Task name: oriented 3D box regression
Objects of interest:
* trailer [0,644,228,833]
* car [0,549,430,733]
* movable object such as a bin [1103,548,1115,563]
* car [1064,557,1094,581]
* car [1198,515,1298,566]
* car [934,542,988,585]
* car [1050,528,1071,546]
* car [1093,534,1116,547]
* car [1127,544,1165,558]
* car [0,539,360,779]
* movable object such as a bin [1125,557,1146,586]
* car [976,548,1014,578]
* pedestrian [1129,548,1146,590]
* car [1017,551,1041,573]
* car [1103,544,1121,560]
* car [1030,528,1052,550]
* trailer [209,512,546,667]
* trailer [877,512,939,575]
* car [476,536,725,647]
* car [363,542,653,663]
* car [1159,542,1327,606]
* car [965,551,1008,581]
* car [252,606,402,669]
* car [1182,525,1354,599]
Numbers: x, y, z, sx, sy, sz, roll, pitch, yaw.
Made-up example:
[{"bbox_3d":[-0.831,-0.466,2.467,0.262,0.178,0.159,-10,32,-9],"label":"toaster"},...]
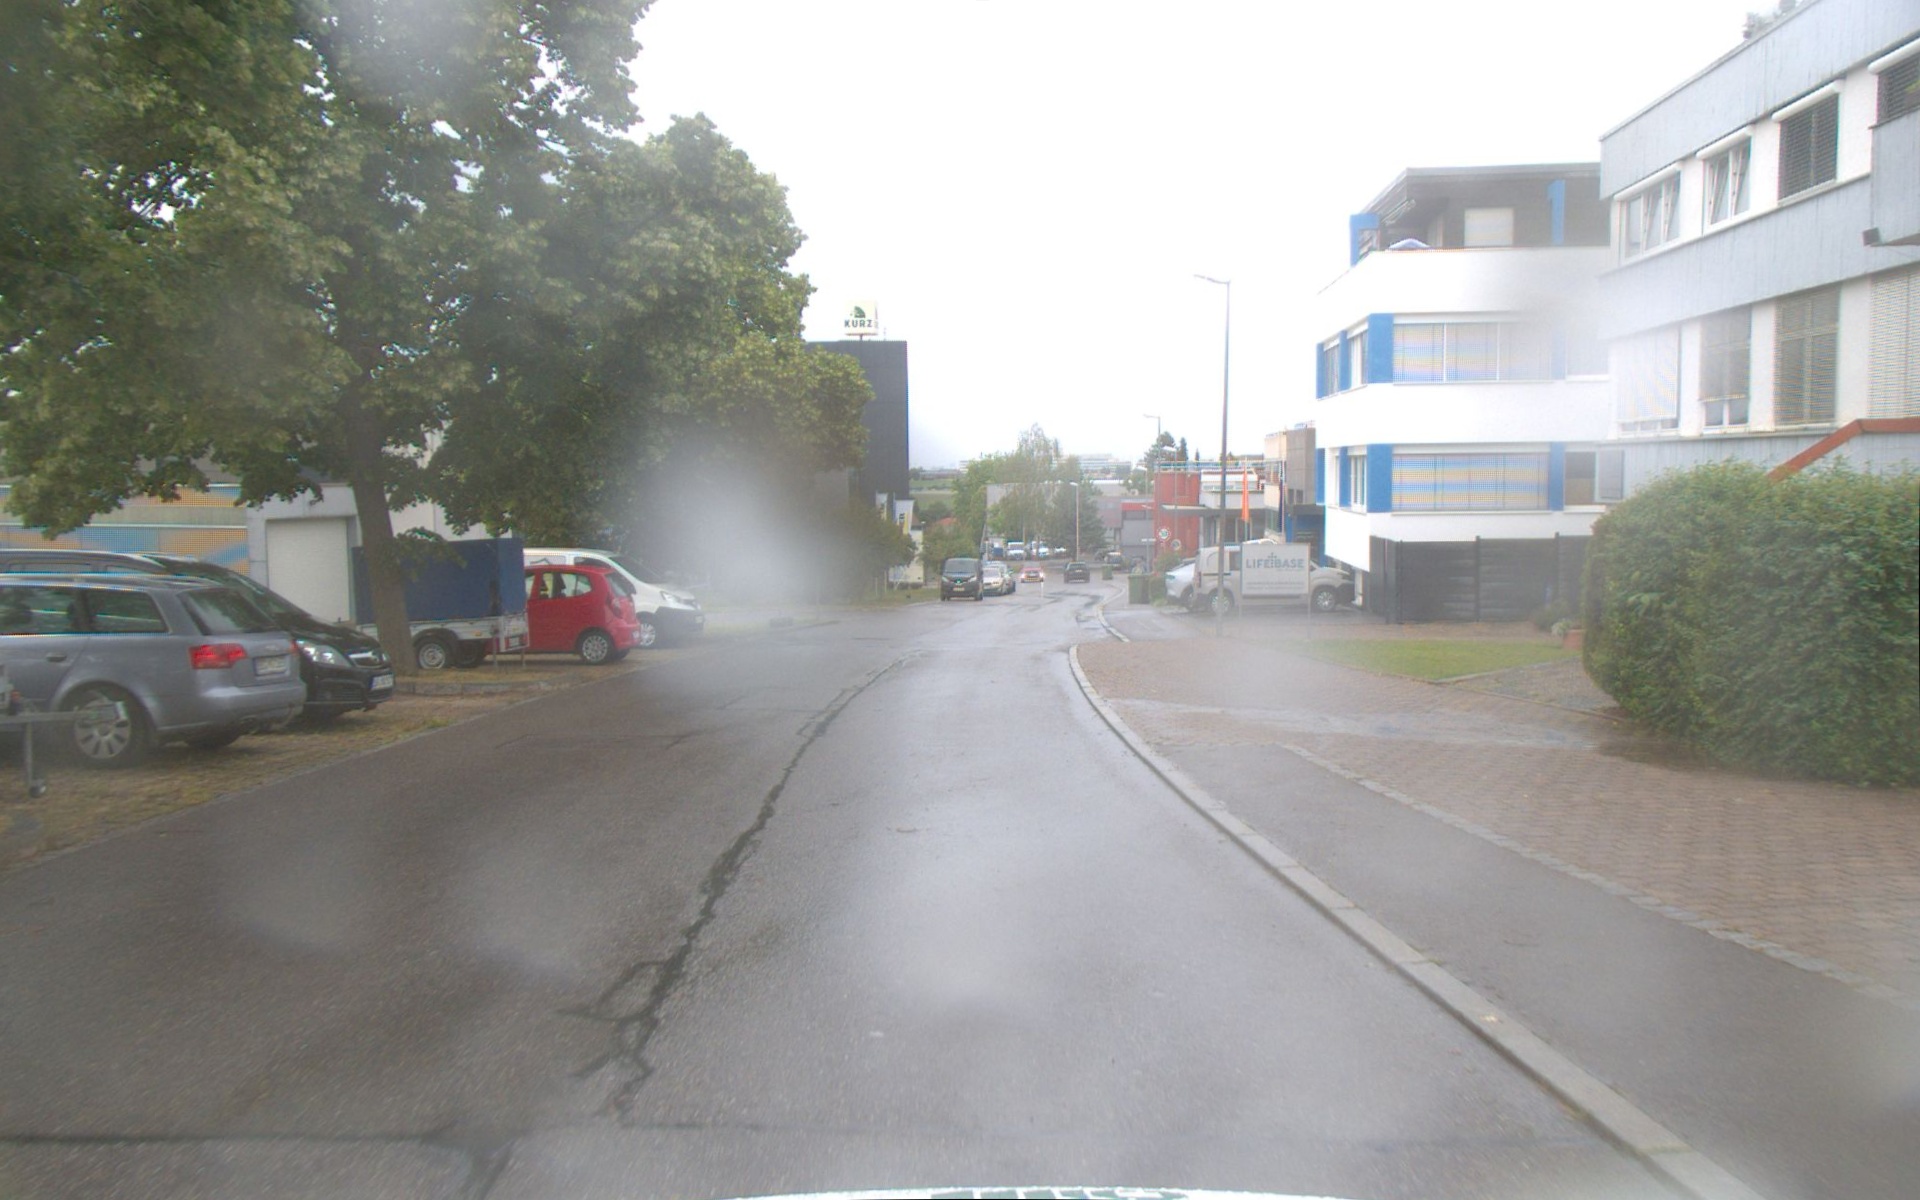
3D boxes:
[{"bbox_3d":[-7.128,0.849,10.696,3.860,0.977,2.001,0,2,0],"label":"trailer"},{"bbox_3d":[-7.635,0.340,15.831,4.521,1.617,1.807,1,1,2],"label":"car"},{"bbox_3d":[11.228,-3.350,124.789,0.790,1.111,0.709,-2,2,0],"label":"movable object such as a bin"},{"bbox_3d":[8.607,-2.231,120.140,1.915,1.704,4.473,-1,1,1],"label":"car"},{"bbox_3d":[16.273,-3.350,93.817,5.191,2.046,2.223,-9,0,5],"label":"car"},{"bbox_3d":[0.084,-1.645,73.777,1.875,1.863,4.852,-1,2,6],"label":"car"},{"bbox_3d":[12.220,-7.698,201.291,2.102,2.048,3.938,-2,1,-2],"label":"car"},{"bbox_3d":[16.351,-6.769,187.106,2.496,1.375,1.242,-1,2,-1],"label":"car"},{"bbox_3d":[16.532,-4.371,147.042,3.328,1.183,1.793,-1,2,6],"label":"car"},{"bbox_3d":[-7.229,0.399,13.362,3.988,1.751,2.027,1,1,3],"label":"car"},{"bbox_3d":[6.533,-1.060,61.406,0.755,1.047,0.809,-1,2,6],"label":"movable object such as a bin"},{"bbox_3d":[2.036,-2.123,94.721,1.916,1.604,4.843,-2,1,3],"label":"car"},{"bbox_3d":[7.767,-1.366,72.290,0.721,1.798,0.809,-1,1,6],"label":"pedestrian"},{"bbox_3d":[5.386,-2.951,129.128,1.711,1.534,3.936,-4,1,2],"label":"car"},{"bbox_3d":[15.159,-4.784,164.966,1.661,1.501,4.003,-1,1,4],"label":"car"},{"bbox_3d":[9.784,-7.380,200.482,2.149,2.502,3.998,-2,1,-3],"label":"car"},{"bbox_3d":[-8.263,-0.161,23.697,4.125,2.018,1.775,-1,1,2],"label":"trailer"},{"bbox_3d":[-3.699,-3.963,117.080,4.114,4.275,1.993,-1,2,43],"label":"trailer"},{"bbox_3d":[-6.810,-0.169,31.544,4.208,1.939,1.864,-1,1,8],"label":"car"},{"bbox_3d":[-7.151,0.019,26.483,4.110,1.751,1.755,-2,1,-1],"label":"car"},{"bbox_3d":[8.045,-0.763,47.392,4.500,1.565,2.081,-3,2,4],"label":"car"},{"bbox_3d":[1.450,-1.824,88.370,1.914,1.486,5.252,-1,2,5],"label":"car"},{"bbox_3d":[-17.337,1.004,45.455,1.529,1.471,3.701,-1,2,29],"label":"car"},{"bbox_3d":[8.189,-1.024,44.274,4.250,1.803,2.090,-2,2,3],"label":"car"}]
